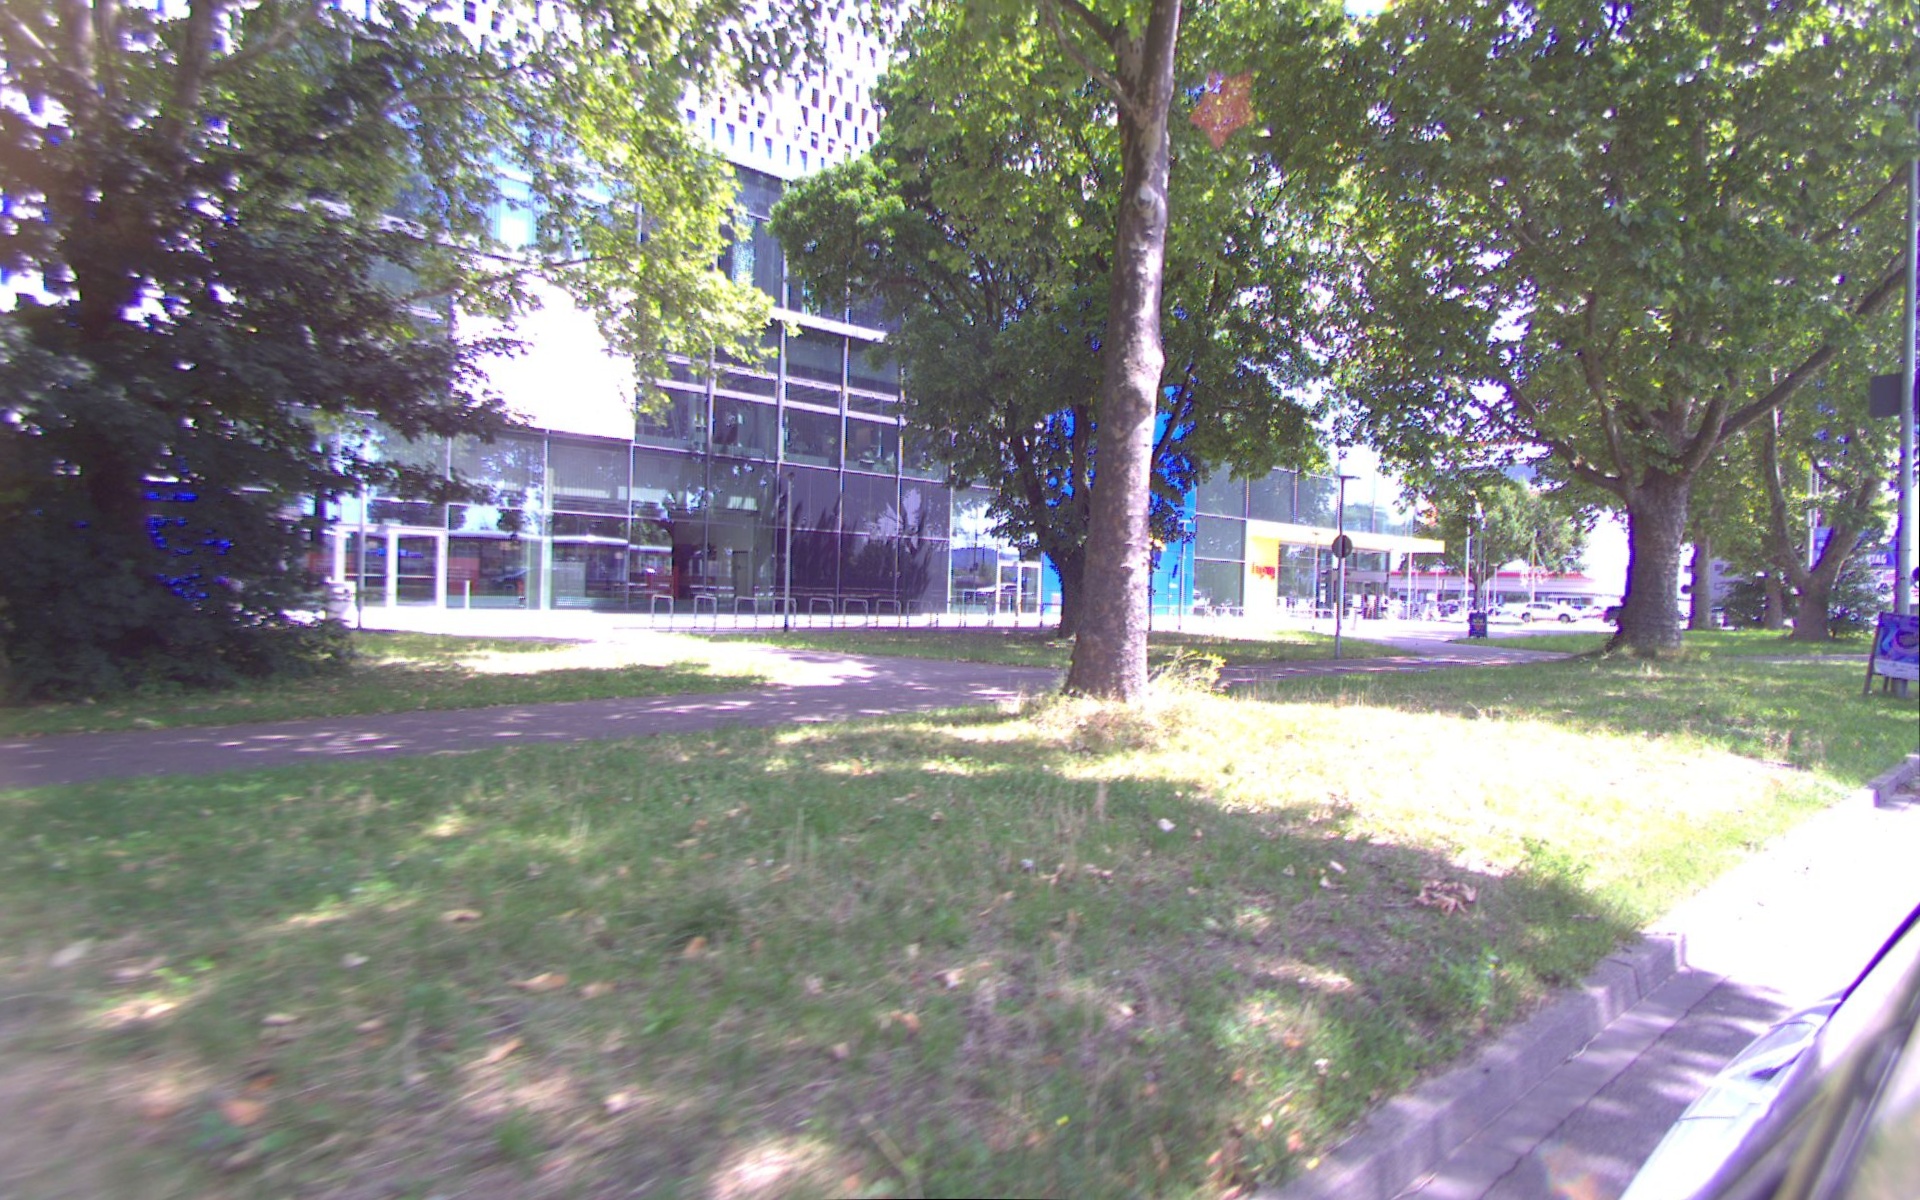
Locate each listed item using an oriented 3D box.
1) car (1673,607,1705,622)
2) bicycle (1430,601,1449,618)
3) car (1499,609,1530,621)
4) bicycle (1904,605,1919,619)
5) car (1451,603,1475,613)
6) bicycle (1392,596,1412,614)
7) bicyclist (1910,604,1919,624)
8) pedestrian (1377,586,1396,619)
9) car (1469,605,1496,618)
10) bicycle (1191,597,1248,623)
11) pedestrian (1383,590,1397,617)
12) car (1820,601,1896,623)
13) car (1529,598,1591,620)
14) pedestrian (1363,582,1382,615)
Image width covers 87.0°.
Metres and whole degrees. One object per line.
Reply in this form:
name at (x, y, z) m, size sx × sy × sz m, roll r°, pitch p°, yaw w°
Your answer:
car at (89.092, 1.791, 123.632) m, size 4.420 × 1.739 × 1.999 m, roll 0°, pitch 0°, yaw -38°
bicycle at (33.294, 0.665, 70.251) m, size 0.798 × 1.159 × 2.401 m, roll 1°, pitch 0°, yaw 36°
car at (63.489, 1.687, 115.868) m, size 3.871 × 1.393 × 1.853 m, roll 0°, pitch 0°, yaw -38°
bicycle at (82.189, 1.041, 86.618) m, size 0.814 × 1.176 × 1.883 m, roll 1°, pitch 1°, yaw -19°
car at (71.984, 1.148, 144.787) m, size 3.928 × 1.327 × 1.693 m, roll 0°, pitch 0°, yaw -39°
bicycle at (31.458, 0.351, 72.038) m, size 0.798 × 1.214 × 2.401 m, roll 1°, pitch 1°, yaw 36°
bicyclist at (82.151, 1.204, 86.678) m, size 0.799 × 1.722 × 0.801 m, roll 1°, pitch 0°, yaw -20°
pedestrian at (26.355, 0.132, 62.539) m, size 0.718 × 2.039 × 0.800 m, roll 1°, pitch 0°, yaw -32°
car at (66.125, 1.407, 128.094) m, size 3.933 × 1.566 × 1.850 m, roll 1°, pitch 0°, yaw -44°
bicycle at (10.302, 0.395, 40.301) m, size 0.854 × 0.981 × 2.062 m, roll 1°, pitch 0°, yaw -43°
pedestrian at (26.835, 0.206, 63.157) m, size 0.574 × 1.693 × 0.608 m, roll 1°, pitch -1°, yaw -29°
car at (62.431, 0.814, 70.399) m, size 1.773 × 1.415 × 3.829 m, roll 1°, pitch 0°, yaw -42°
car at (50.211, 0.732, 84.765) m, size 1.965 × 1.660 × 4.075 m, roll 0°, pitch 1°, yaw -41°
pedestrian at (25.556, -0.108, 62.675) m, size 0.718 × 2.039 × 0.801 m, roll 1°, pitch 0°, yaw -28°
